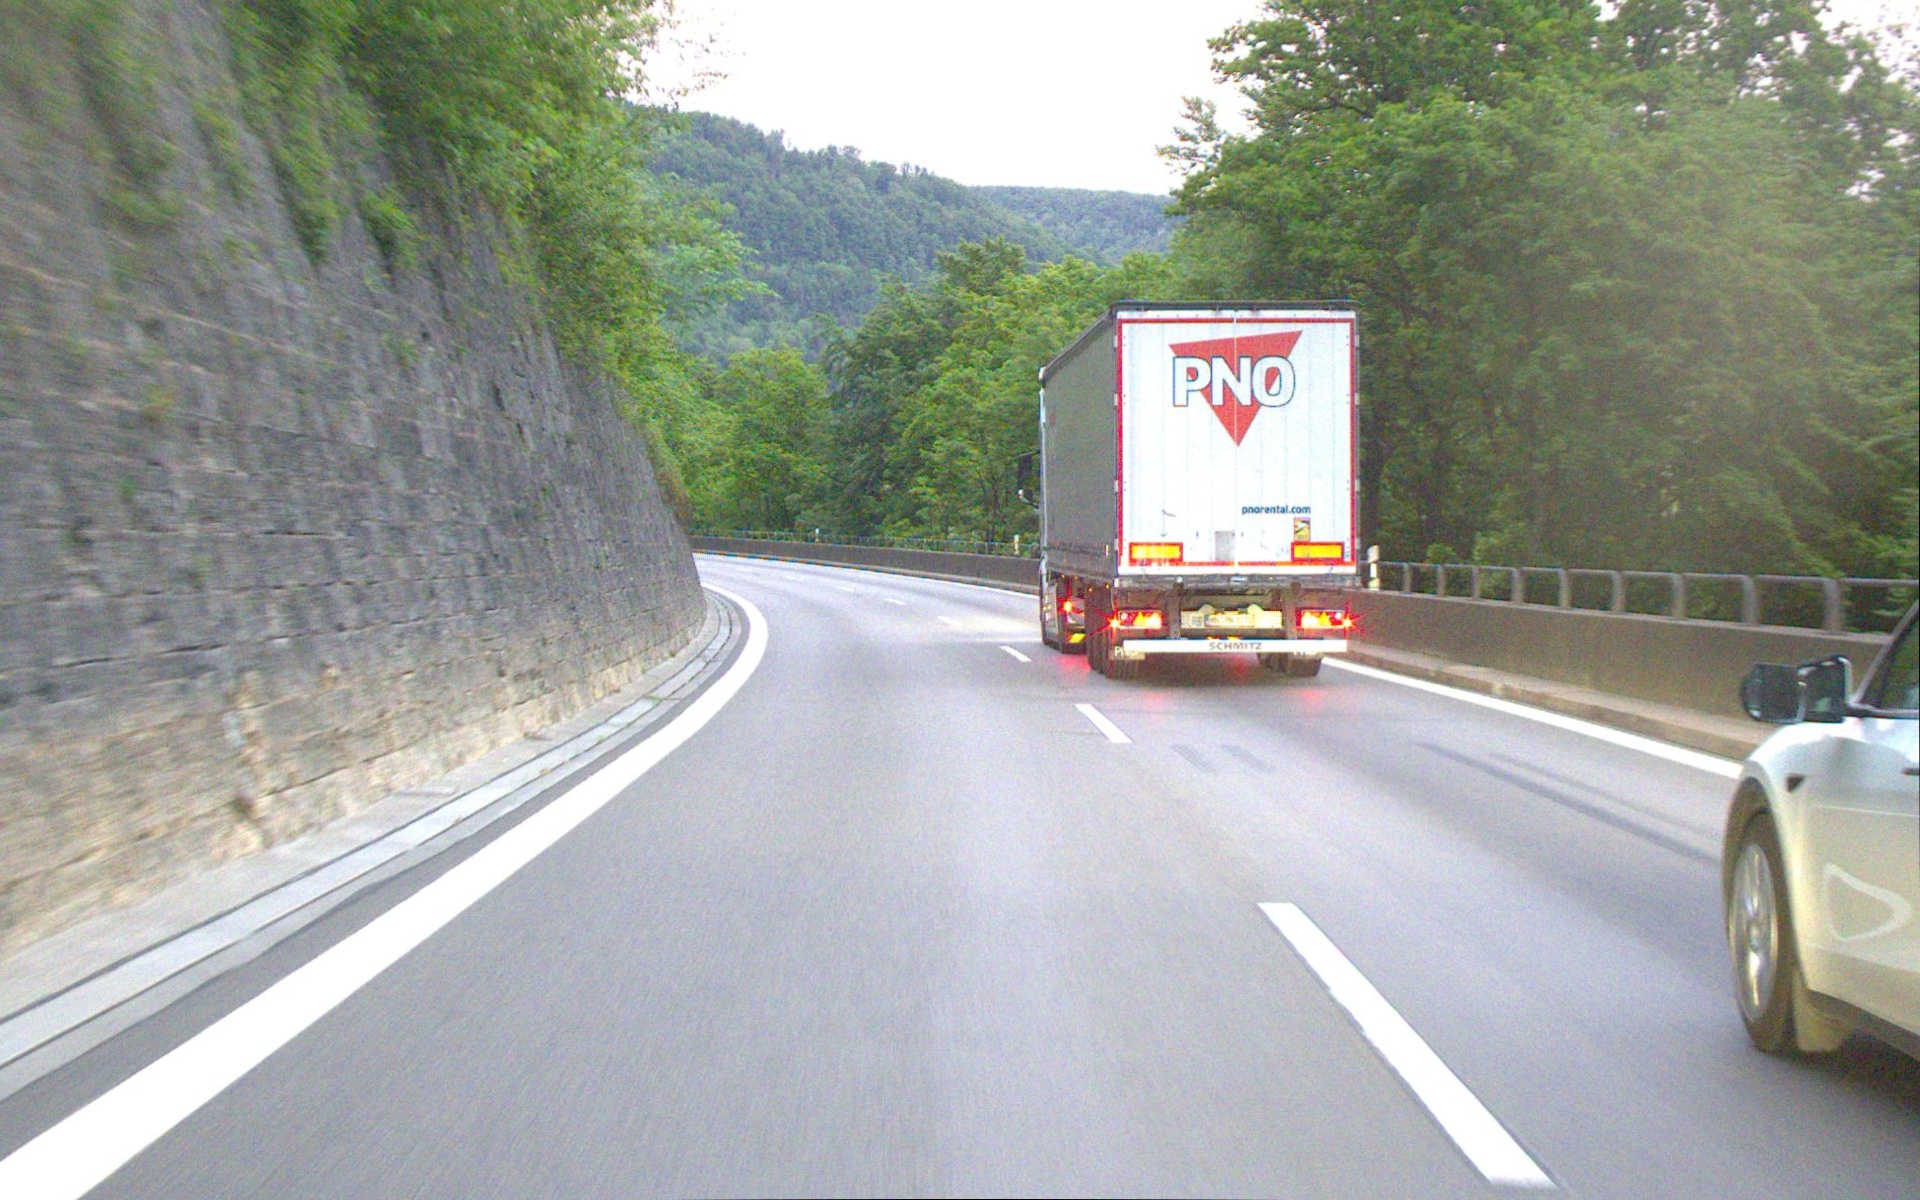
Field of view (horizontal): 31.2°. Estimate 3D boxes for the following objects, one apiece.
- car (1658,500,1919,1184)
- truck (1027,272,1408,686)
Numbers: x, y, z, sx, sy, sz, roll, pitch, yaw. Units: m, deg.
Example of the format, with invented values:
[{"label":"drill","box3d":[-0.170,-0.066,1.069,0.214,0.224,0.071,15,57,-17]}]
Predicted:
[{"label":"car","box3d":[3.260,0.576,8.569,1.993,1.609,4.865,1,1,0]},{"label":"truck","box3d":[2.774,-1.335,43.196,3.294,4.158,16.504,1,1,-1]}]
